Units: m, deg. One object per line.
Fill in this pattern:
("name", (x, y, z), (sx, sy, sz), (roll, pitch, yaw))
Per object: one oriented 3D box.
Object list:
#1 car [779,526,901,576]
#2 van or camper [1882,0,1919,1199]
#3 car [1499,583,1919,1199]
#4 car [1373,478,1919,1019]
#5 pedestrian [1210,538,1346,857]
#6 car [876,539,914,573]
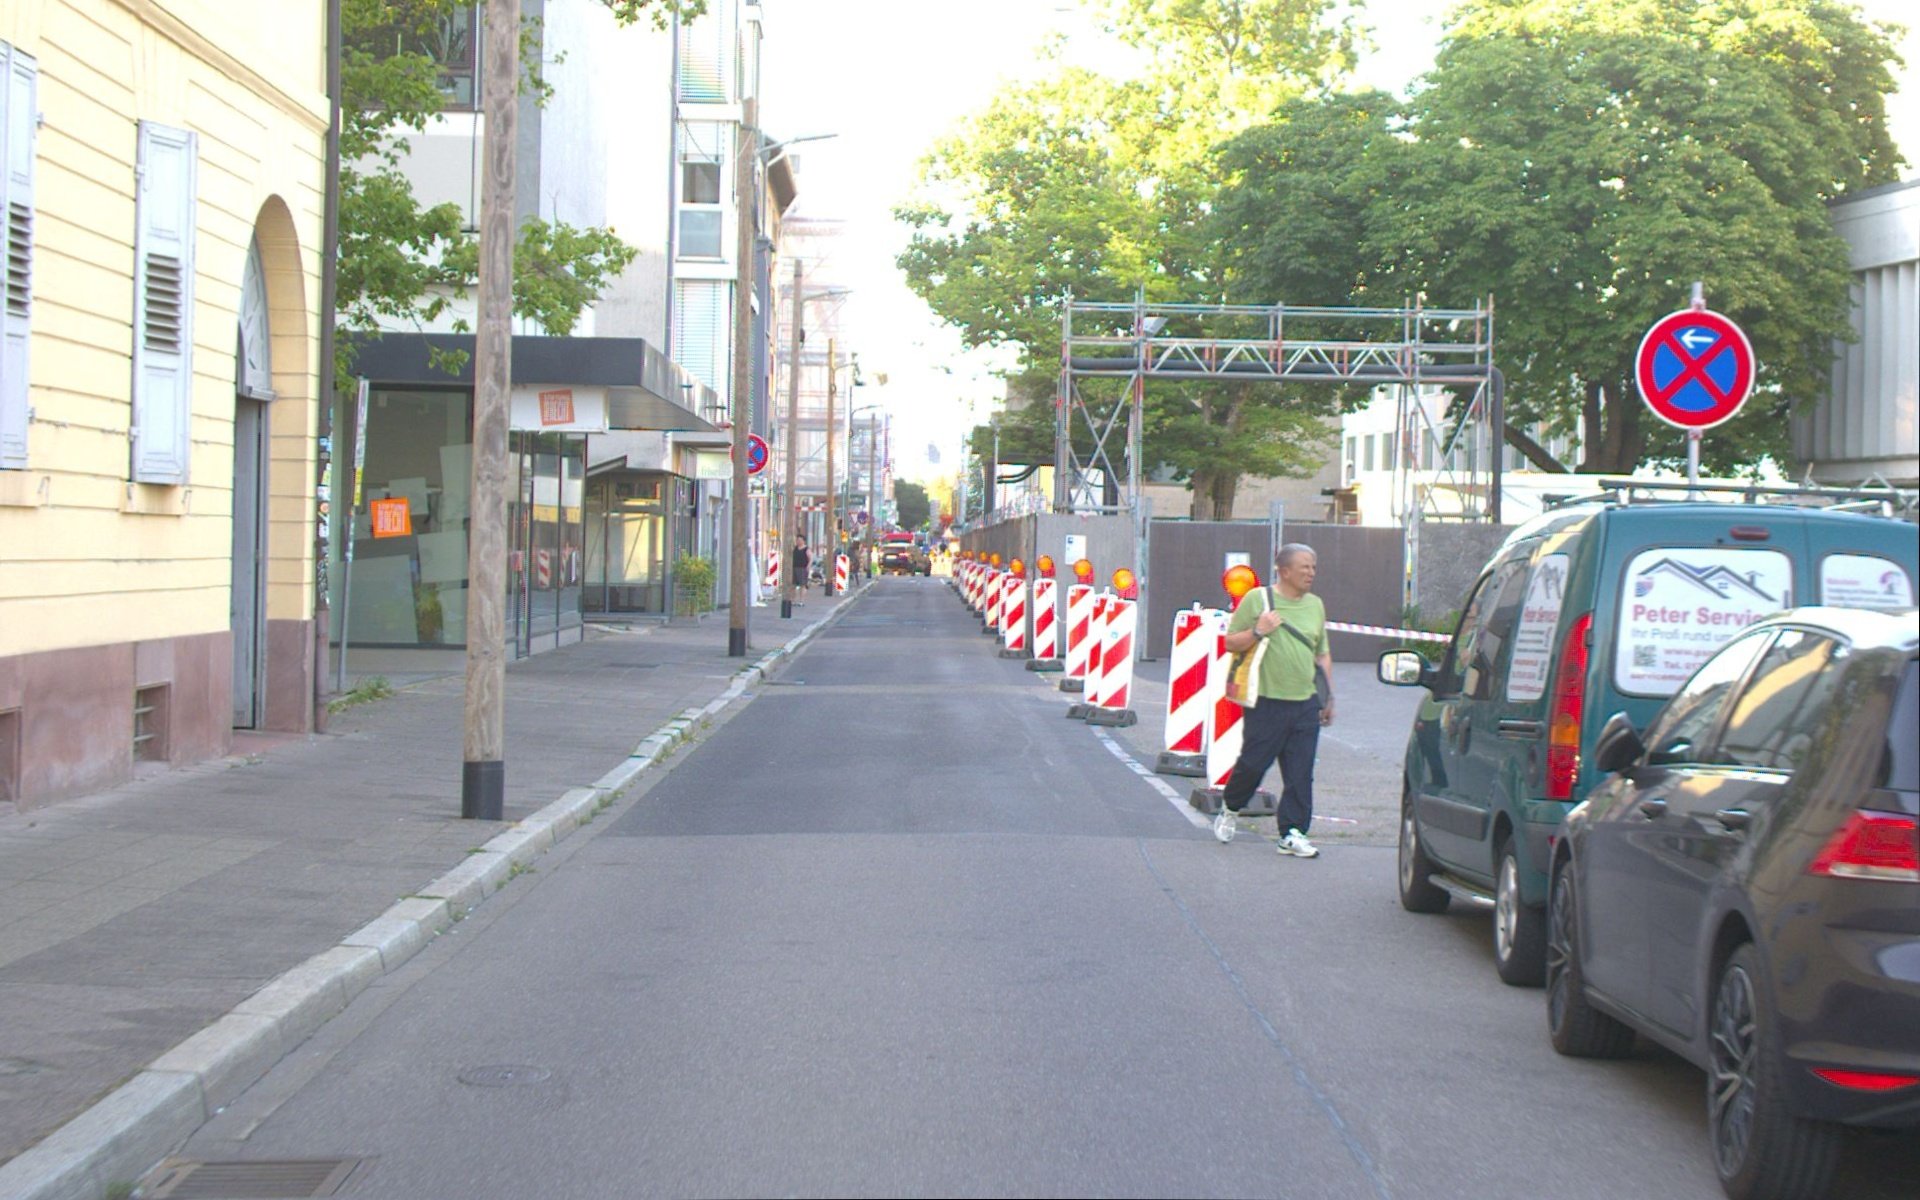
("car", (-3.764, -1.524, 107.298), (3.742, 1.454, 1.698), (1, 0, -3))
("van or camper", (2.940, 0.140, 3.908), (2.077, 2.765, 6.450), (2, 0, 1))
("car", (2.655, 0.727, 9.394), (1.692, 1.454, 4.099), (2, 1, 0))
("car", (2.799, 0.490, 13.990), (1.713, 1.842, 4.022), (2, 1, 0))
("pedestrian", (1.668, 0.498, 18.135), (0.613, 1.623, 0.818), (2, 1, 2))
("car", (-3.366, -2.300, 178.642), (1.858, 1.656, 4.000), (2, 1, -1))
